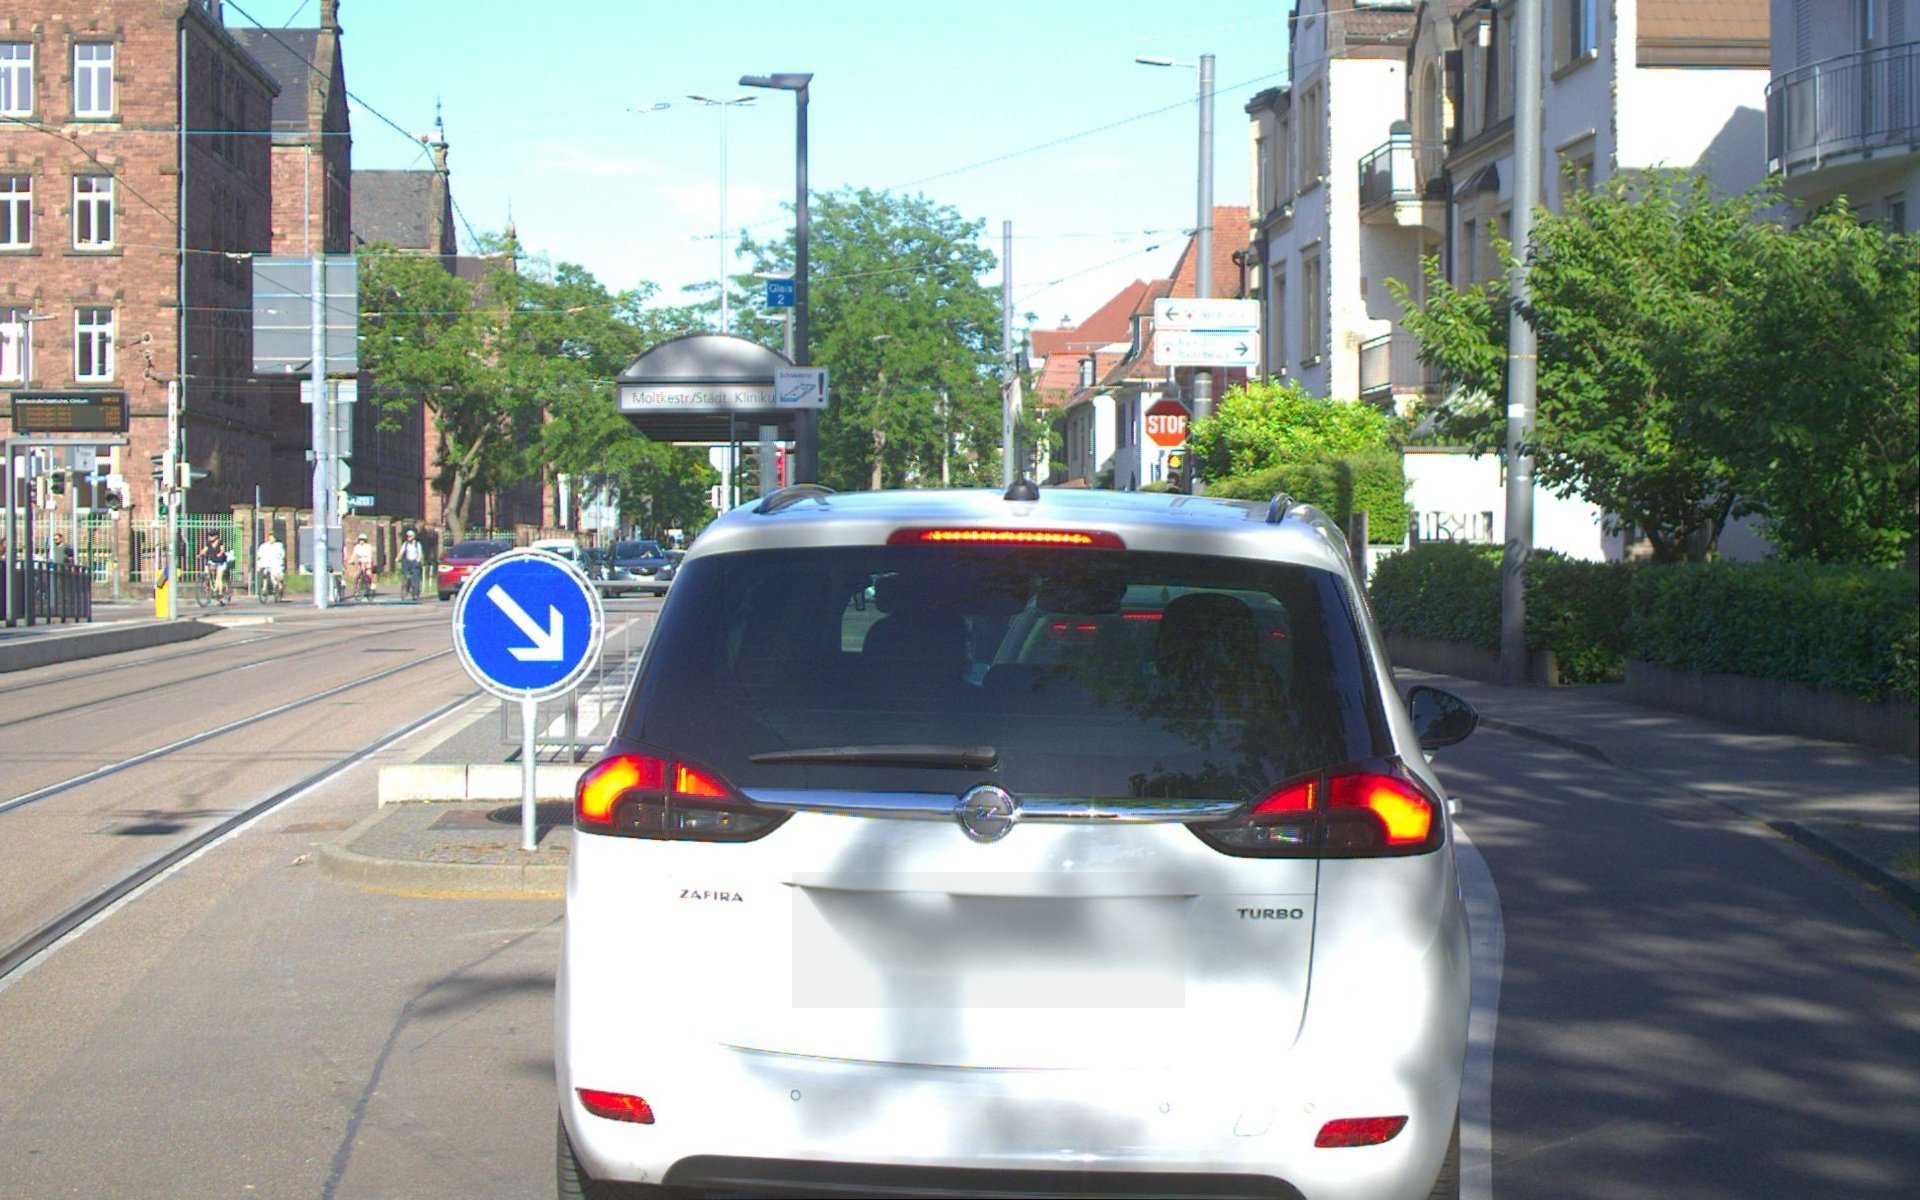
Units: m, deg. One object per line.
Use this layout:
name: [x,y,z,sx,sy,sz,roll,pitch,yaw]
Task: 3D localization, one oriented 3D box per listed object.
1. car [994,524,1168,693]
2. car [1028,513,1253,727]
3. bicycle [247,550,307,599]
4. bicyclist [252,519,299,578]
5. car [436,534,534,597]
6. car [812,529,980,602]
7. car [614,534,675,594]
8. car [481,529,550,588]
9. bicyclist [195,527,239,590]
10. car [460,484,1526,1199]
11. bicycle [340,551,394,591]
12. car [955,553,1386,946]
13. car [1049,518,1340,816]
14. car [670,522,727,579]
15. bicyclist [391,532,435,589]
car: [1.225,0.049,36.201,1.596,1.629,3.901,2,1,-1]
car: [1.465,0.122,29.165,1.596,1.629,3.901,2,1,-1]
bicycle: [-17.115,-0.639,86.171,0.815,1.194,1.952,0,1,10]
bicyclist: [-17.133,-1.295,86.055,0.757,1.465,1.190,0,1,10]
car: [-12.539,-0.928,90.936,1.818,1.601,4.359,0,1,2]
car: [-1.615,-0.889,86.572,3.992,1.802,1.522,1,1,25]
car: [-8.791,-1.019,95.577,1.666,1.624,4.001,0,1,-6]
car: [-13.901,-1.306,107.615,1.698,1.803,4.000,0,1,-1]
bicyclist: [-17.282,-0.961,79.956,0.653,1.454,1.152,0,1,8]
car: [0.217,0.561,8.091,1.878,1.579,3.999,1,1,5]
bicycle: [-16.254,-0.800,94.296,0.669,1.068,2.014,2,1,14]
car: [0.949,0.532,14.780,1.569,1.396,3.783,2,1,5]
car: [1.467,0.334,21.030,1.569,1.609,3.783,2,1,5]
car: [-9.442,-1.791,124.202,1.993,2.007,4.001,0,1,-4]
bicyclist: [-15.004,-1.093,94.259,0.761,1.531,1.347,1,1,10]
